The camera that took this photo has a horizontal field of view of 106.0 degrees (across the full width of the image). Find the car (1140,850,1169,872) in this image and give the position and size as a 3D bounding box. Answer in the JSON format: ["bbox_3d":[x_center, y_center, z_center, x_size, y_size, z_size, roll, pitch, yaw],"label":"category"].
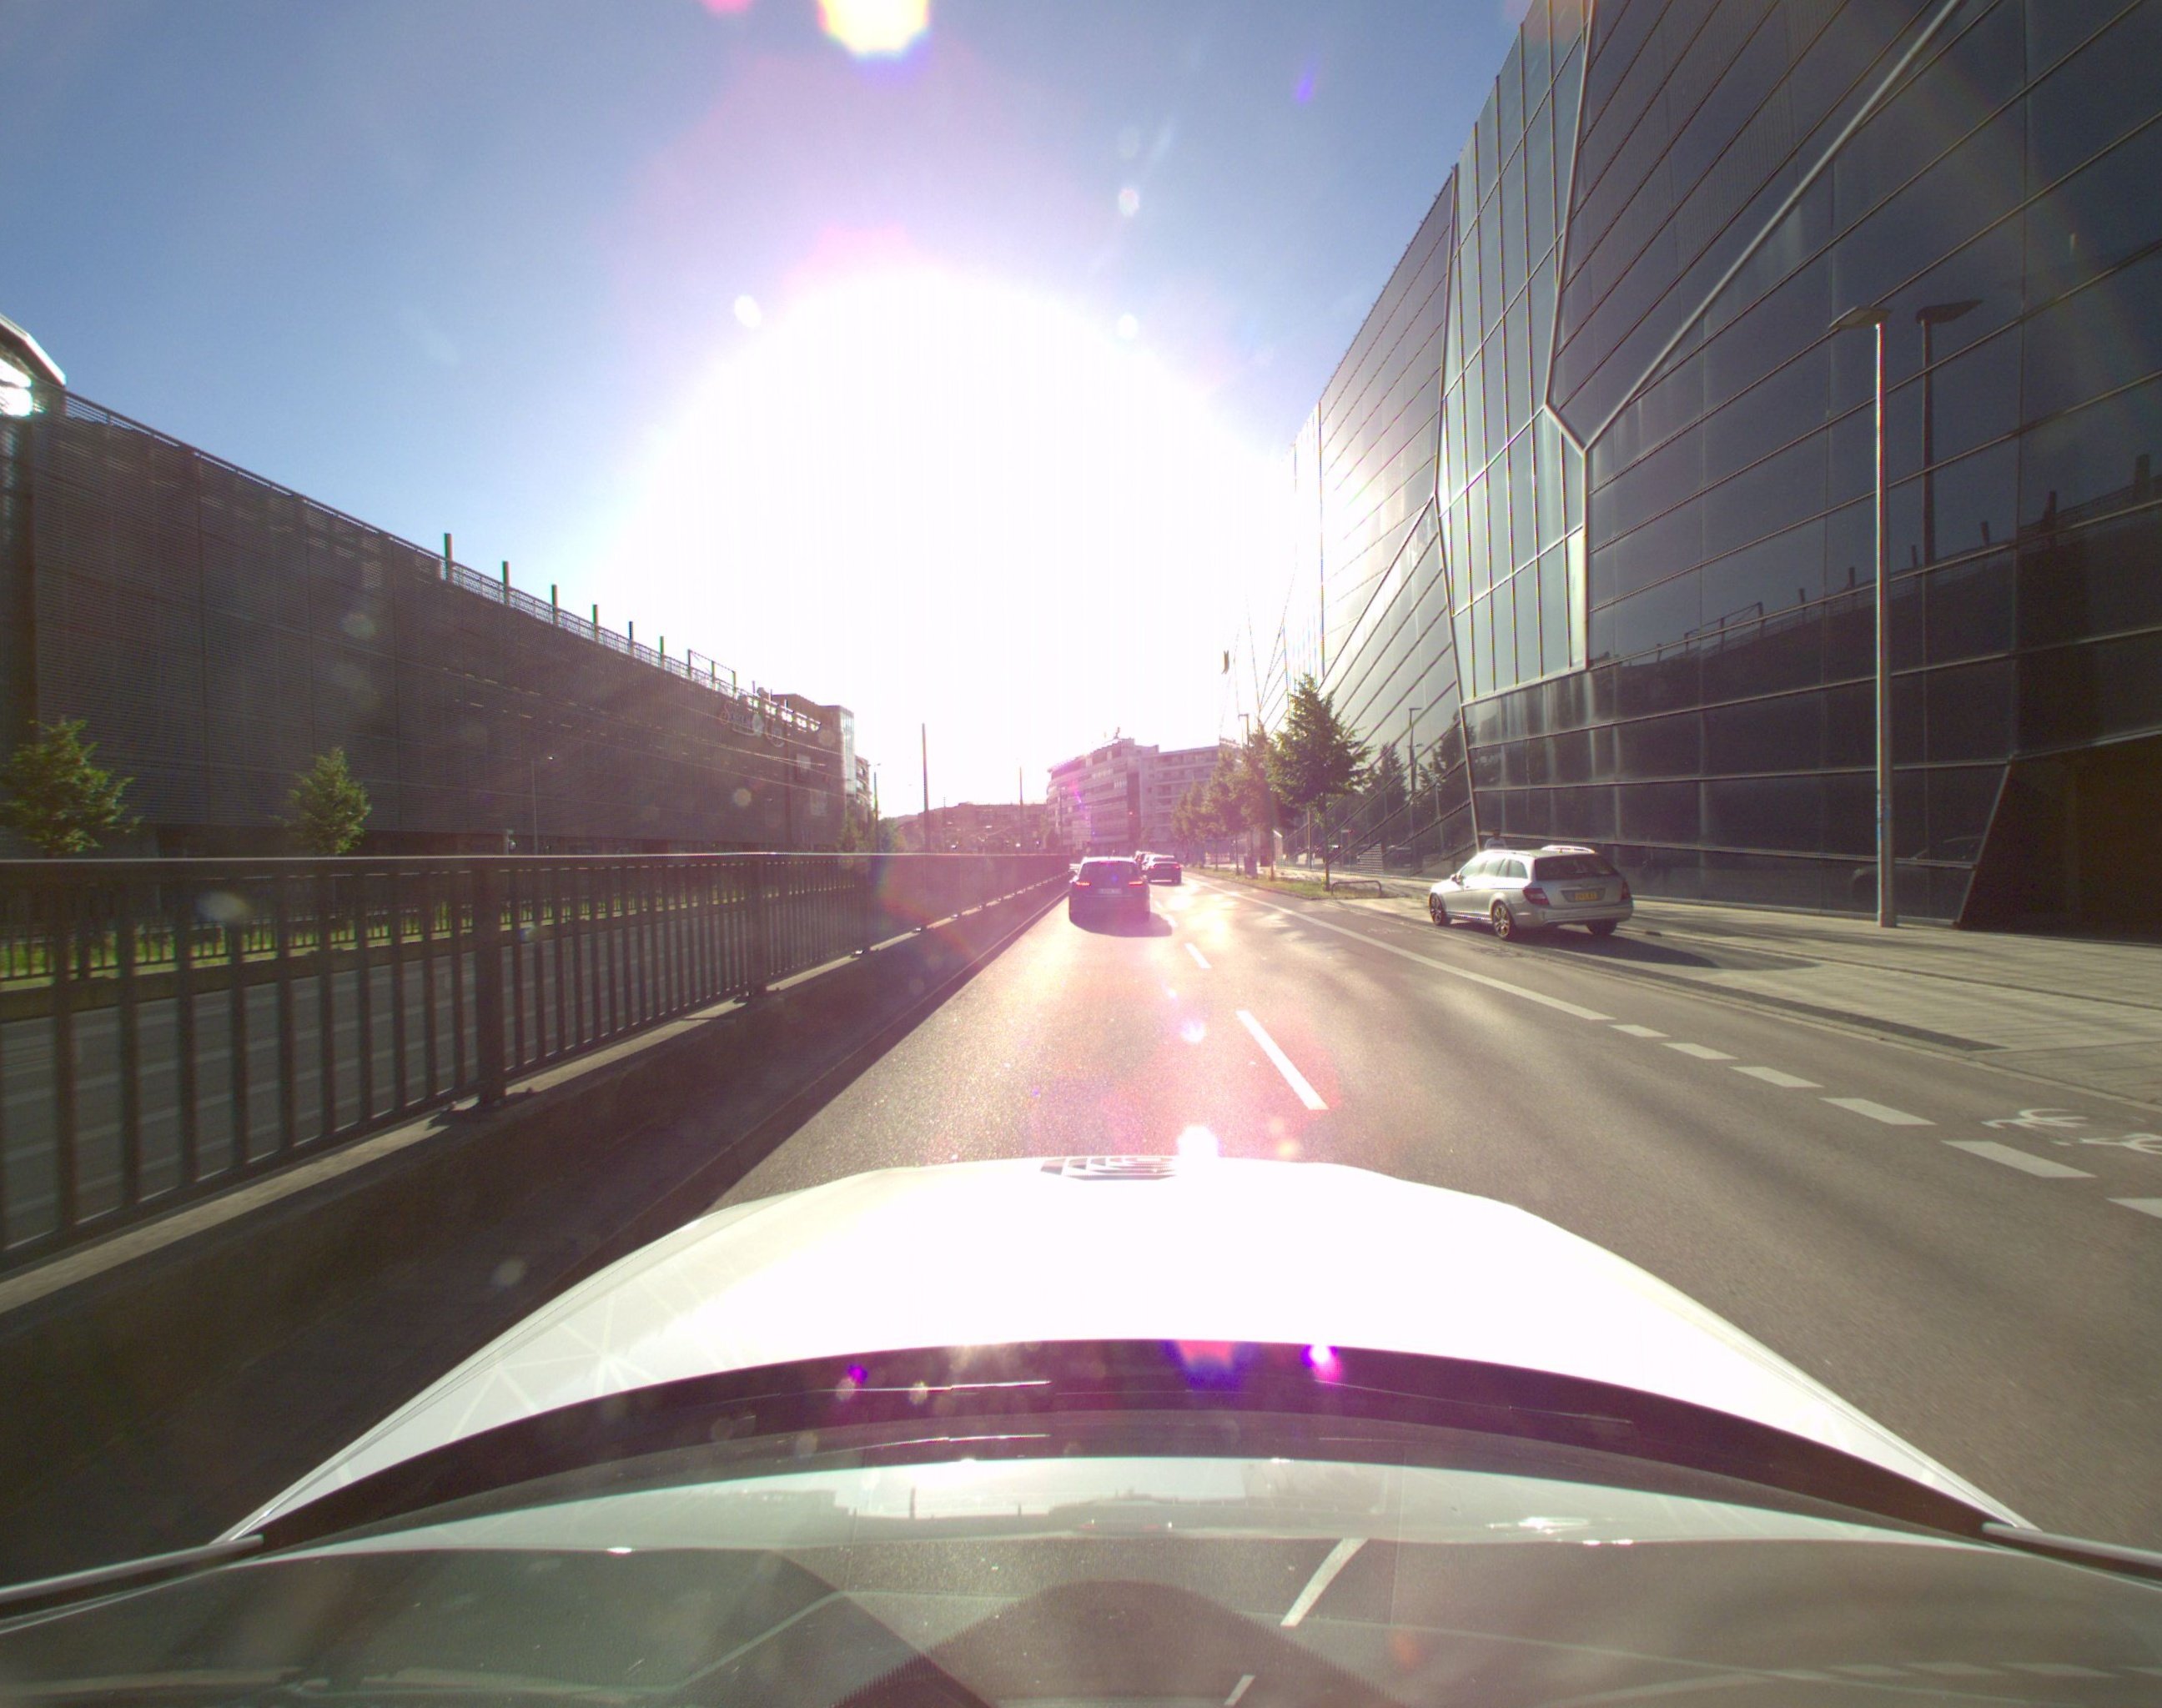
[{"bbox_3d":[5.312,0.455,59.164,1.985,1.465,4.005,-1,1,4],"label":"car"}]

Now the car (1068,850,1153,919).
[{"bbox_3d":[0.711,0.665,19.956,1.805,1.427,4.691,-2,0,2],"label":"car"}]

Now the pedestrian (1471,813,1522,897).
[{"bbox_3d":[10.242,0.027,20.115,0.833,2.013,0.690,-3,0,3],"label":"pedestrian"}]

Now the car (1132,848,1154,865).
[{"bbox_3d":[5.812,0.225,76.329,1.985,1.465,4.005,-1,1,4],"label":"car"}]

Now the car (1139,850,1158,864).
[{"bbox_3d":[7.218,0.294,87.425,1.985,1.465,4.005,-1,1,4],"label":"car"}]

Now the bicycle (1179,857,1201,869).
[{"bbox_3d":[11.420,0.966,85.317,2.089,1.184,0.723,-3,0,-14],"label":"bicycle"}]

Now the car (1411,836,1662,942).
[{"bbox_3d":[7.795,0.503,14.604,1.846,1.481,4.856,-3,0,2],"label":"car"}]

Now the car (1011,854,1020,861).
[{"bbox_3d":[-16.526,0.863,205.159,1.987,1.750,3.999,-3,0,0],"label":"car"}]

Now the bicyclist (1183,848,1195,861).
[{"bbox_3d":[11.305,0.022,85.315,1.034,1.269,0.723,-3,0,-13],"label":"bicyclist"}]

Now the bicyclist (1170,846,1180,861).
[{"bbox_3d":[9.378,-0.014,81.049,0.723,1.418,0.890,-3,0,-5],"label":"bicyclist"}]

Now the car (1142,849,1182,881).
[{"bbox_3d":[4.116,0.523,41.916,1.845,1.546,4.004,0,0,3],"label":"car"}]

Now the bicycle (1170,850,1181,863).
[{"bbox_3d":[9.396,0.259,81.029,0.723,1.184,2.090,-3,0,-4],"label":"bicycle"}]
